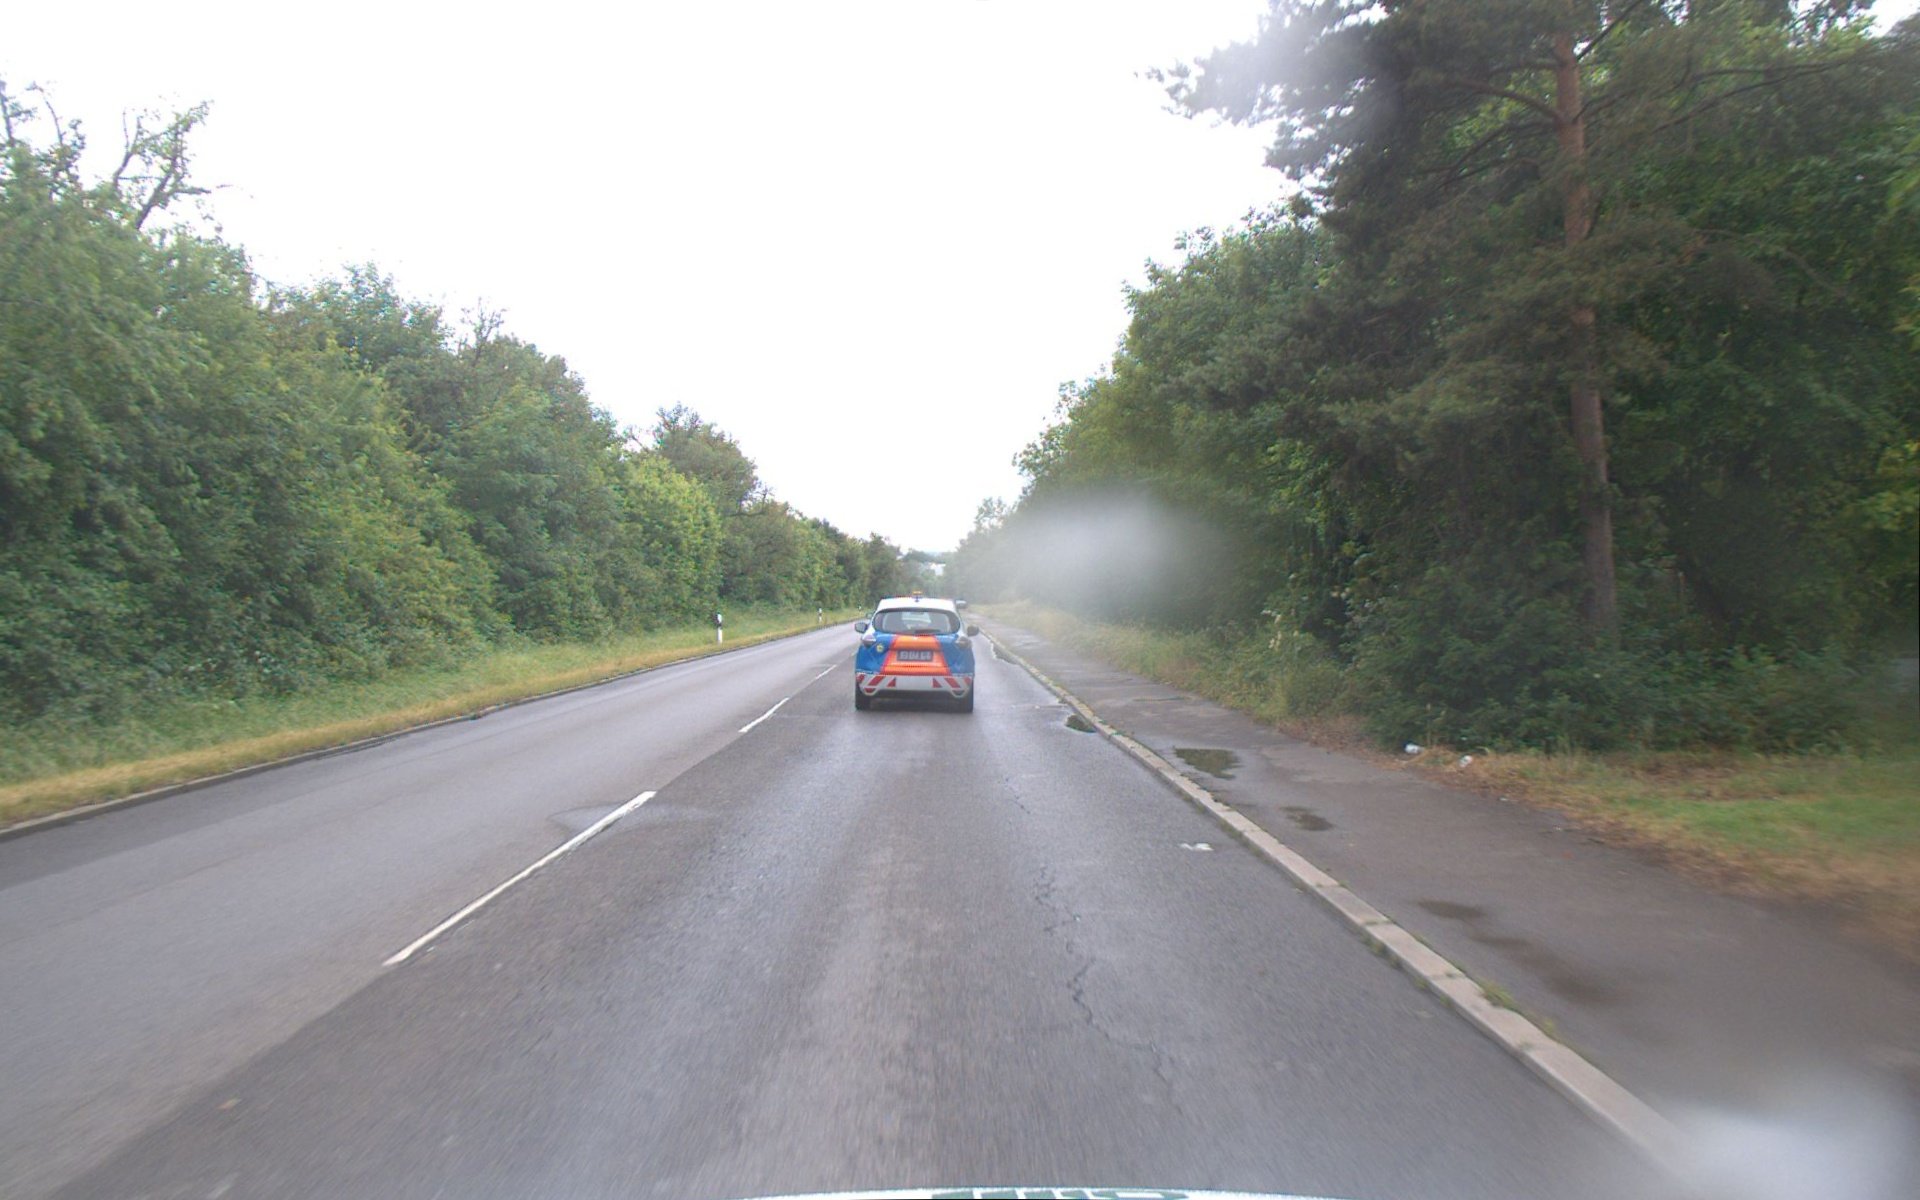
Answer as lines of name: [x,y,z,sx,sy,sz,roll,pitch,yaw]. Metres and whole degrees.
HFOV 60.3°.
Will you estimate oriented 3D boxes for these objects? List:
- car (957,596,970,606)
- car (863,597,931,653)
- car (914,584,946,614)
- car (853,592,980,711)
car: [0.502,0.188,255.420,1.953,1.400,4.000,-1,0,0]
car: [-1.568,0.608,42.054,1.566,1.309,3.476,-1,0,0]
car: [-1.855,-0.088,102.781,1.902,1.753,4.063,-2,1,0]
car: [-0.622,0.689,24.359,1.716,1.583,3.792,0,1,-1]
